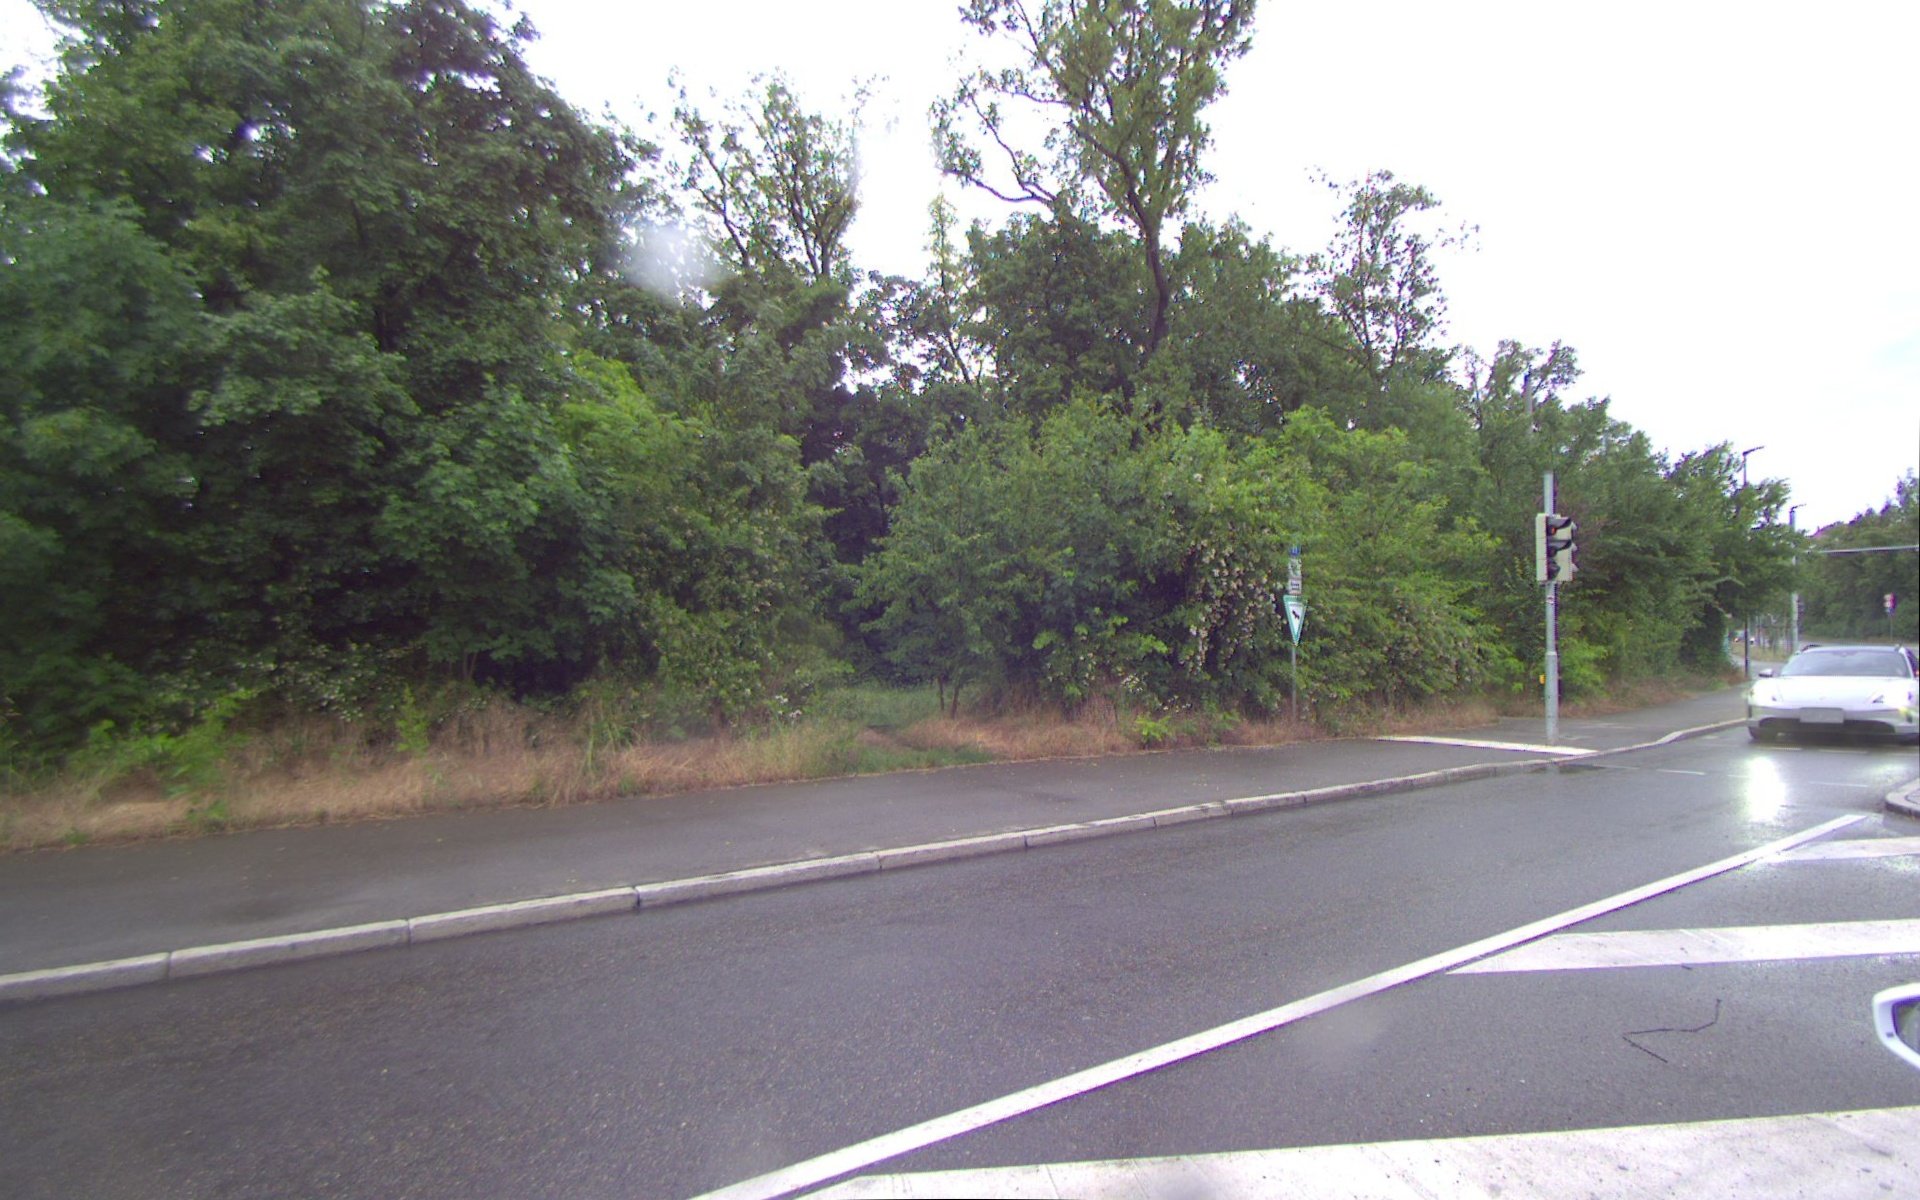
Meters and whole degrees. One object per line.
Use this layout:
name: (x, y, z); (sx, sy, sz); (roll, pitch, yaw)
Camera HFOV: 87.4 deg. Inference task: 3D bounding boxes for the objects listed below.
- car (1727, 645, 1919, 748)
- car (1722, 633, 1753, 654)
car: (13.648, 1.398, 15.500); (4.324, 1.328, 1.977); (1, -4, -40)
car: (79.602, 4.429, 102.864); (1.965, 2.040, 3.992); (1, -1, 31)
